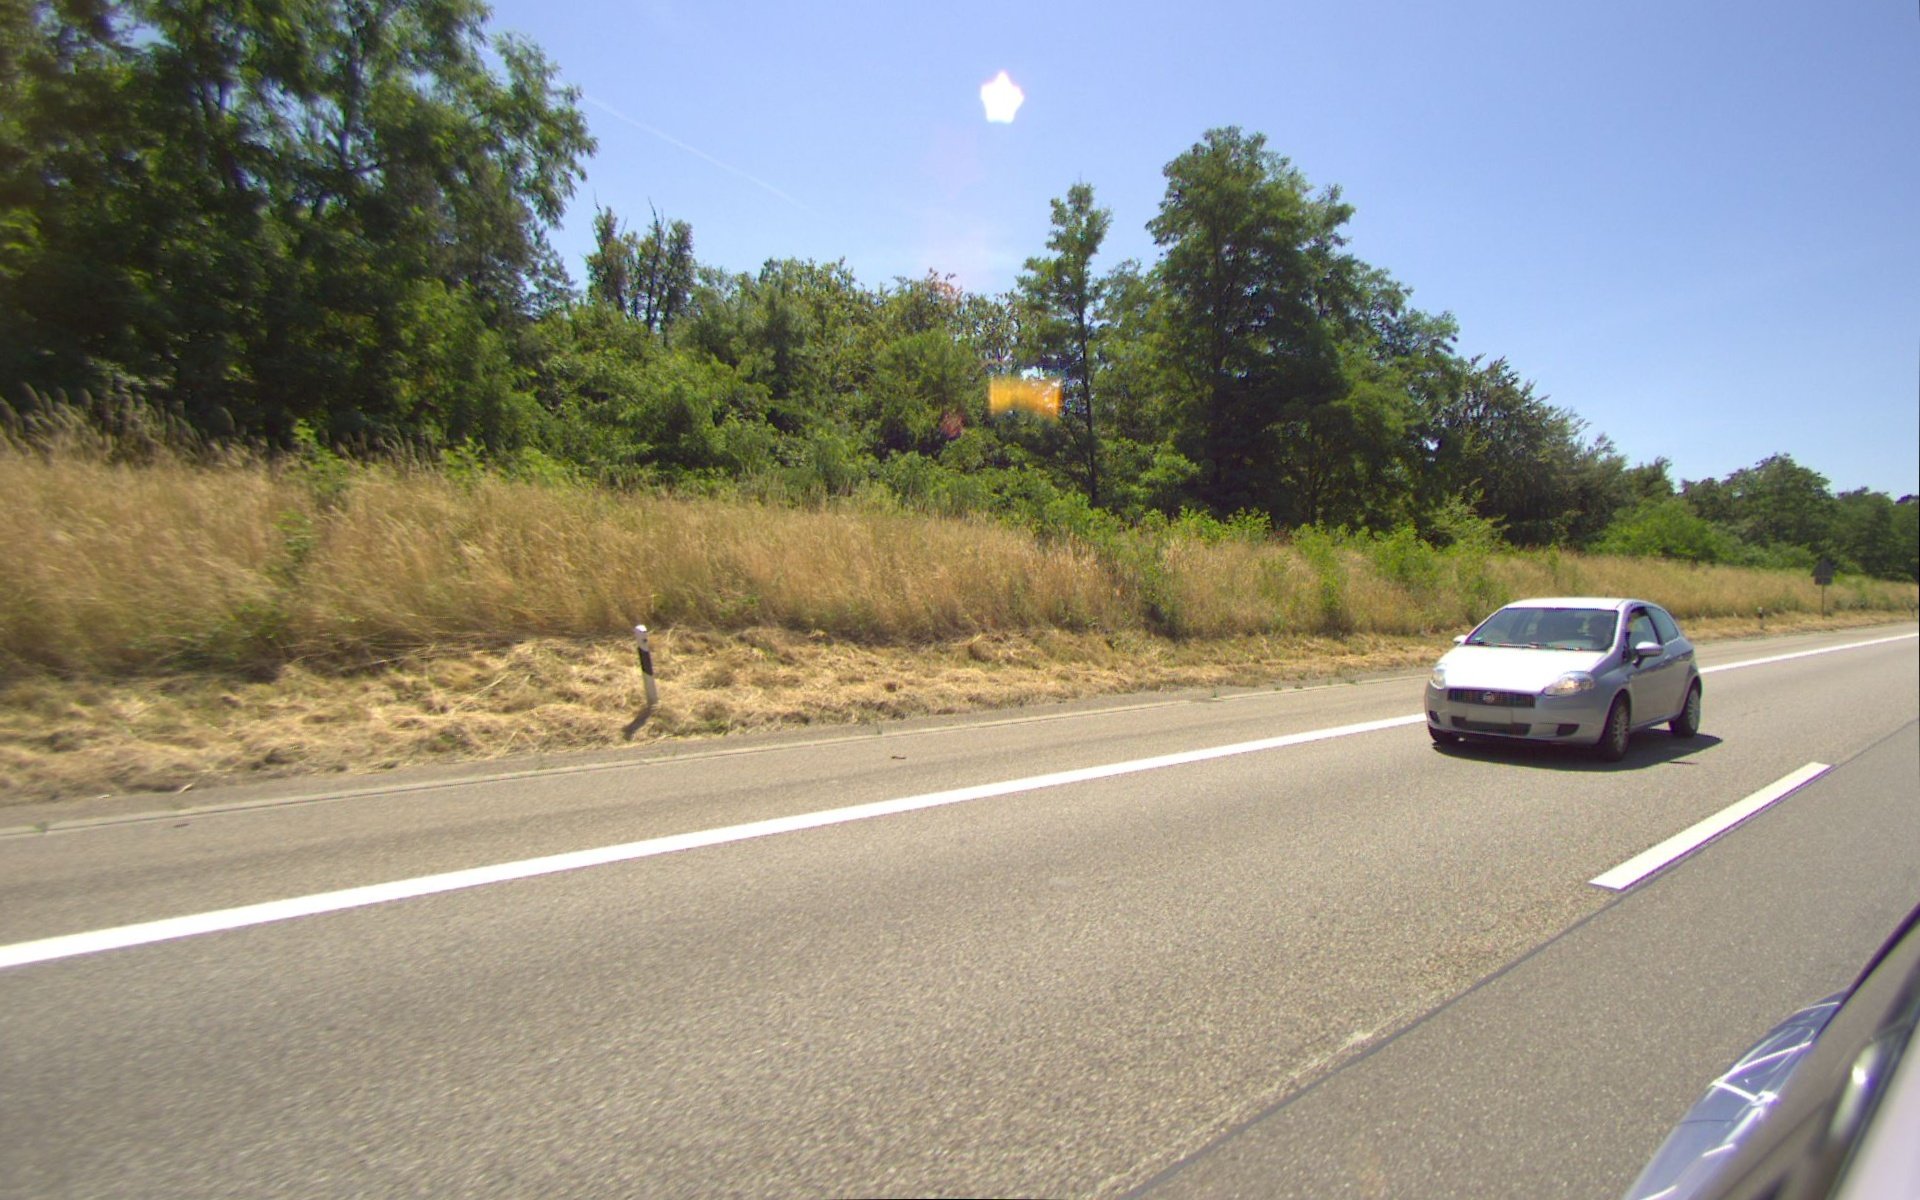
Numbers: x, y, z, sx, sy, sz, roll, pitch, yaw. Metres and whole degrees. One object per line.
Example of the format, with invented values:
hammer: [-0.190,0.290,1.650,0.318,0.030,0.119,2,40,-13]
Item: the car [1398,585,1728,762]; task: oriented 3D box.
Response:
car: [6.311,0.596,10.432,3.910,1.484,1.748,0,0,-40]
